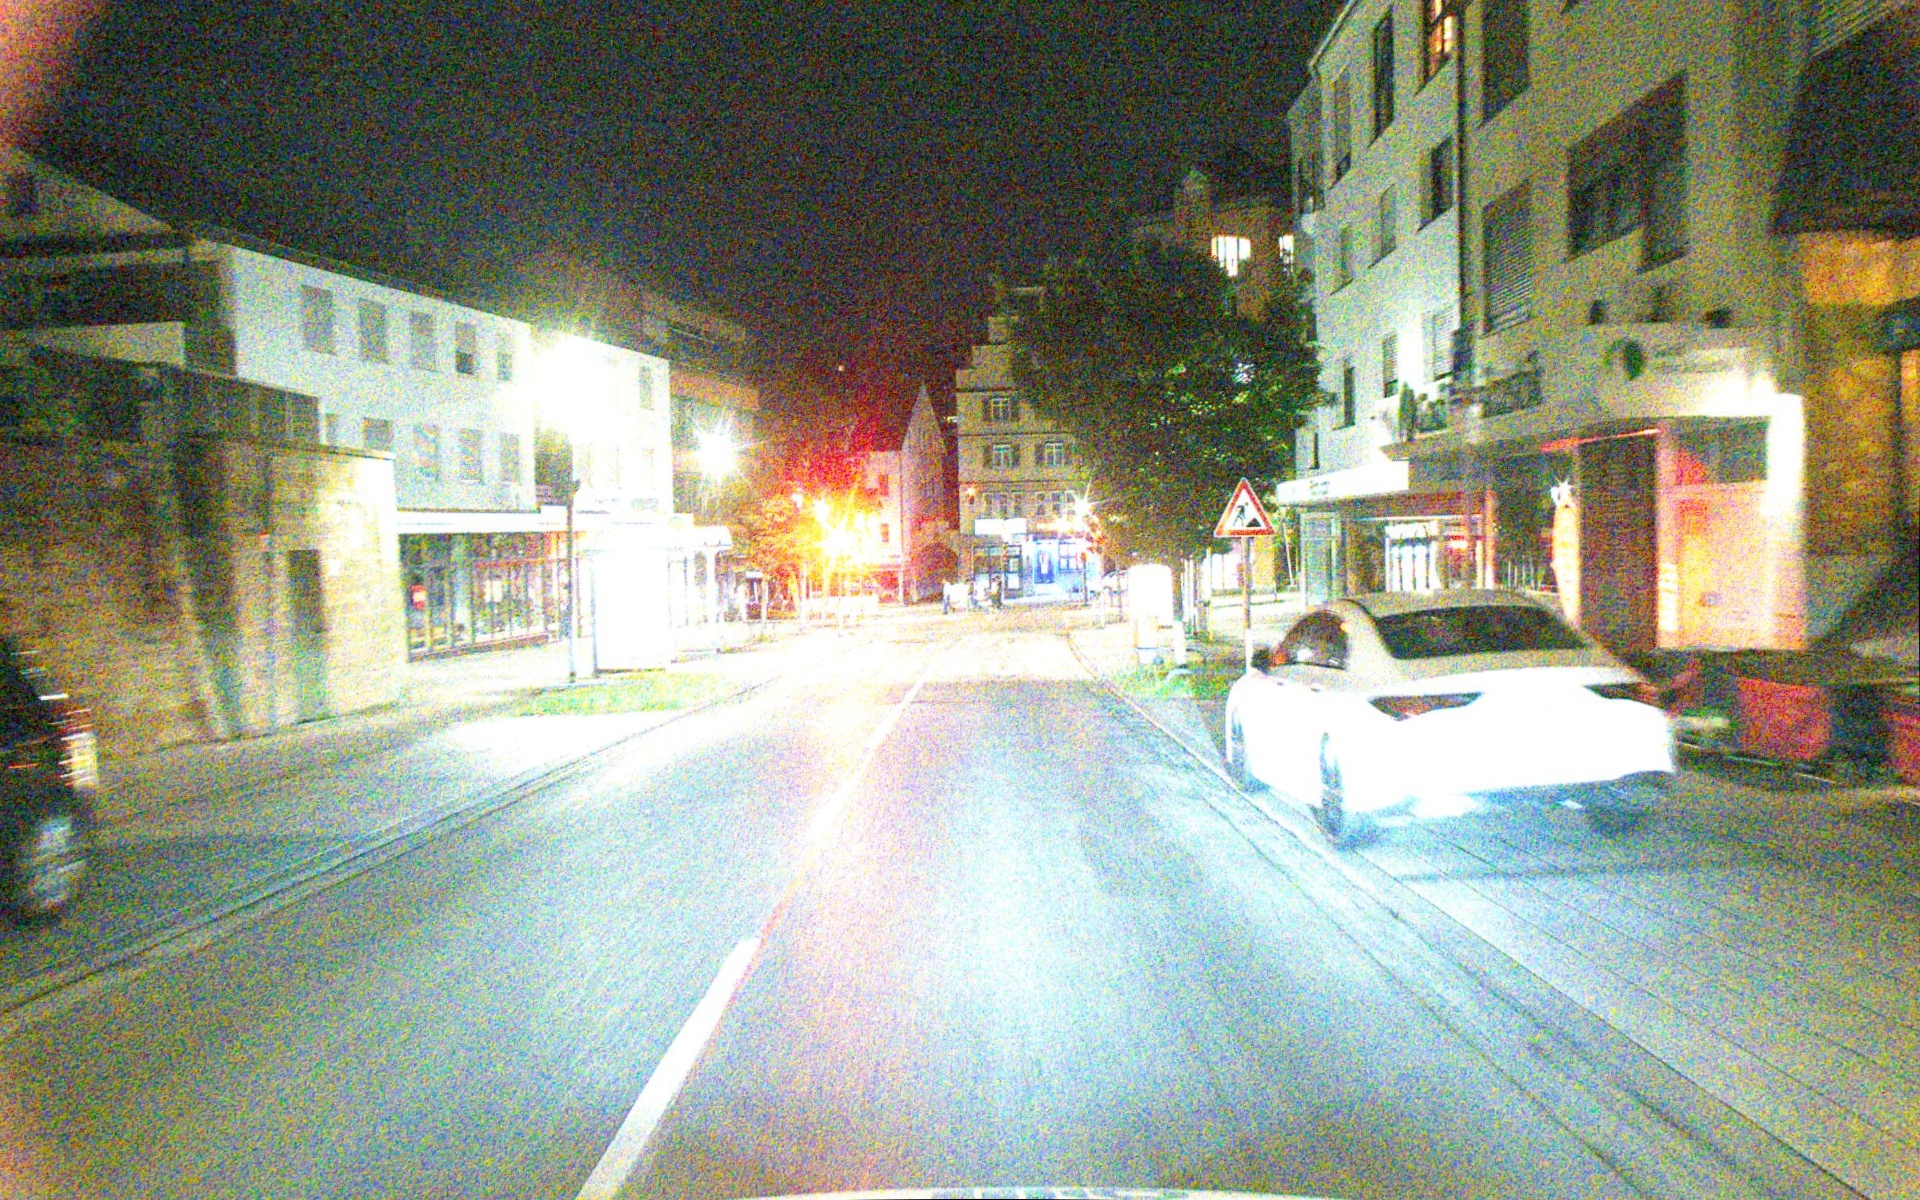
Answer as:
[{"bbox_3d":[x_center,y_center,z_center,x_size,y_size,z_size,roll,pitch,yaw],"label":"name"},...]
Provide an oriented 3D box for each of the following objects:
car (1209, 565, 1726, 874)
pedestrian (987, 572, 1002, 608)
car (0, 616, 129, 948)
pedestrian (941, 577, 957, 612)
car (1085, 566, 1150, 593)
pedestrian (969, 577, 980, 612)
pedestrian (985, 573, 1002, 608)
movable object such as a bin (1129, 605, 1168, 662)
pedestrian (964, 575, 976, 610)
[{"bbox_3d":[2.942,0.600,10.739,1.820,1.467,4.593,-3,0,-1],"label":"car"},{"bbox_3d":[1.795,-0.524,85.153,0.719,1.827,0.718,-1,-1,3],"label":"pedestrian"},{"bbox_3d":[-5.124,0.833,6.439,1.657,1.462,4.128,0,0,1],"label":"car"},{"bbox_3d":[-0.577,-0.282,85.193,0.700,1.827,0.570,-1,-1,10],"label":"pedestrian"},{"bbox_3d":[9.981,-1.290,105.128,3.696,1.646,1.825,-1,-1,-19],"label":"car"},{"bbox_3d":[0.755,-0.283,88.358,0.556,1.827,0.718,-1,-1,-1],"label":"pedestrian"},{"bbox_3d":[1.741,-0.499,86.060,0.563,1.827,0.709,0,-1,-34],"label":"pedestrian"},{"bbox_3d":[3.200,0.562,28.107,0.514,0.953,0.628,-1,-1,-8],"label":"movable object such as a bin"},{"bbox_3d":[0.523,-0.372,86.377,0.556,1.827,0.717,-1,-1,-5],"label":"pedestrian"}]
